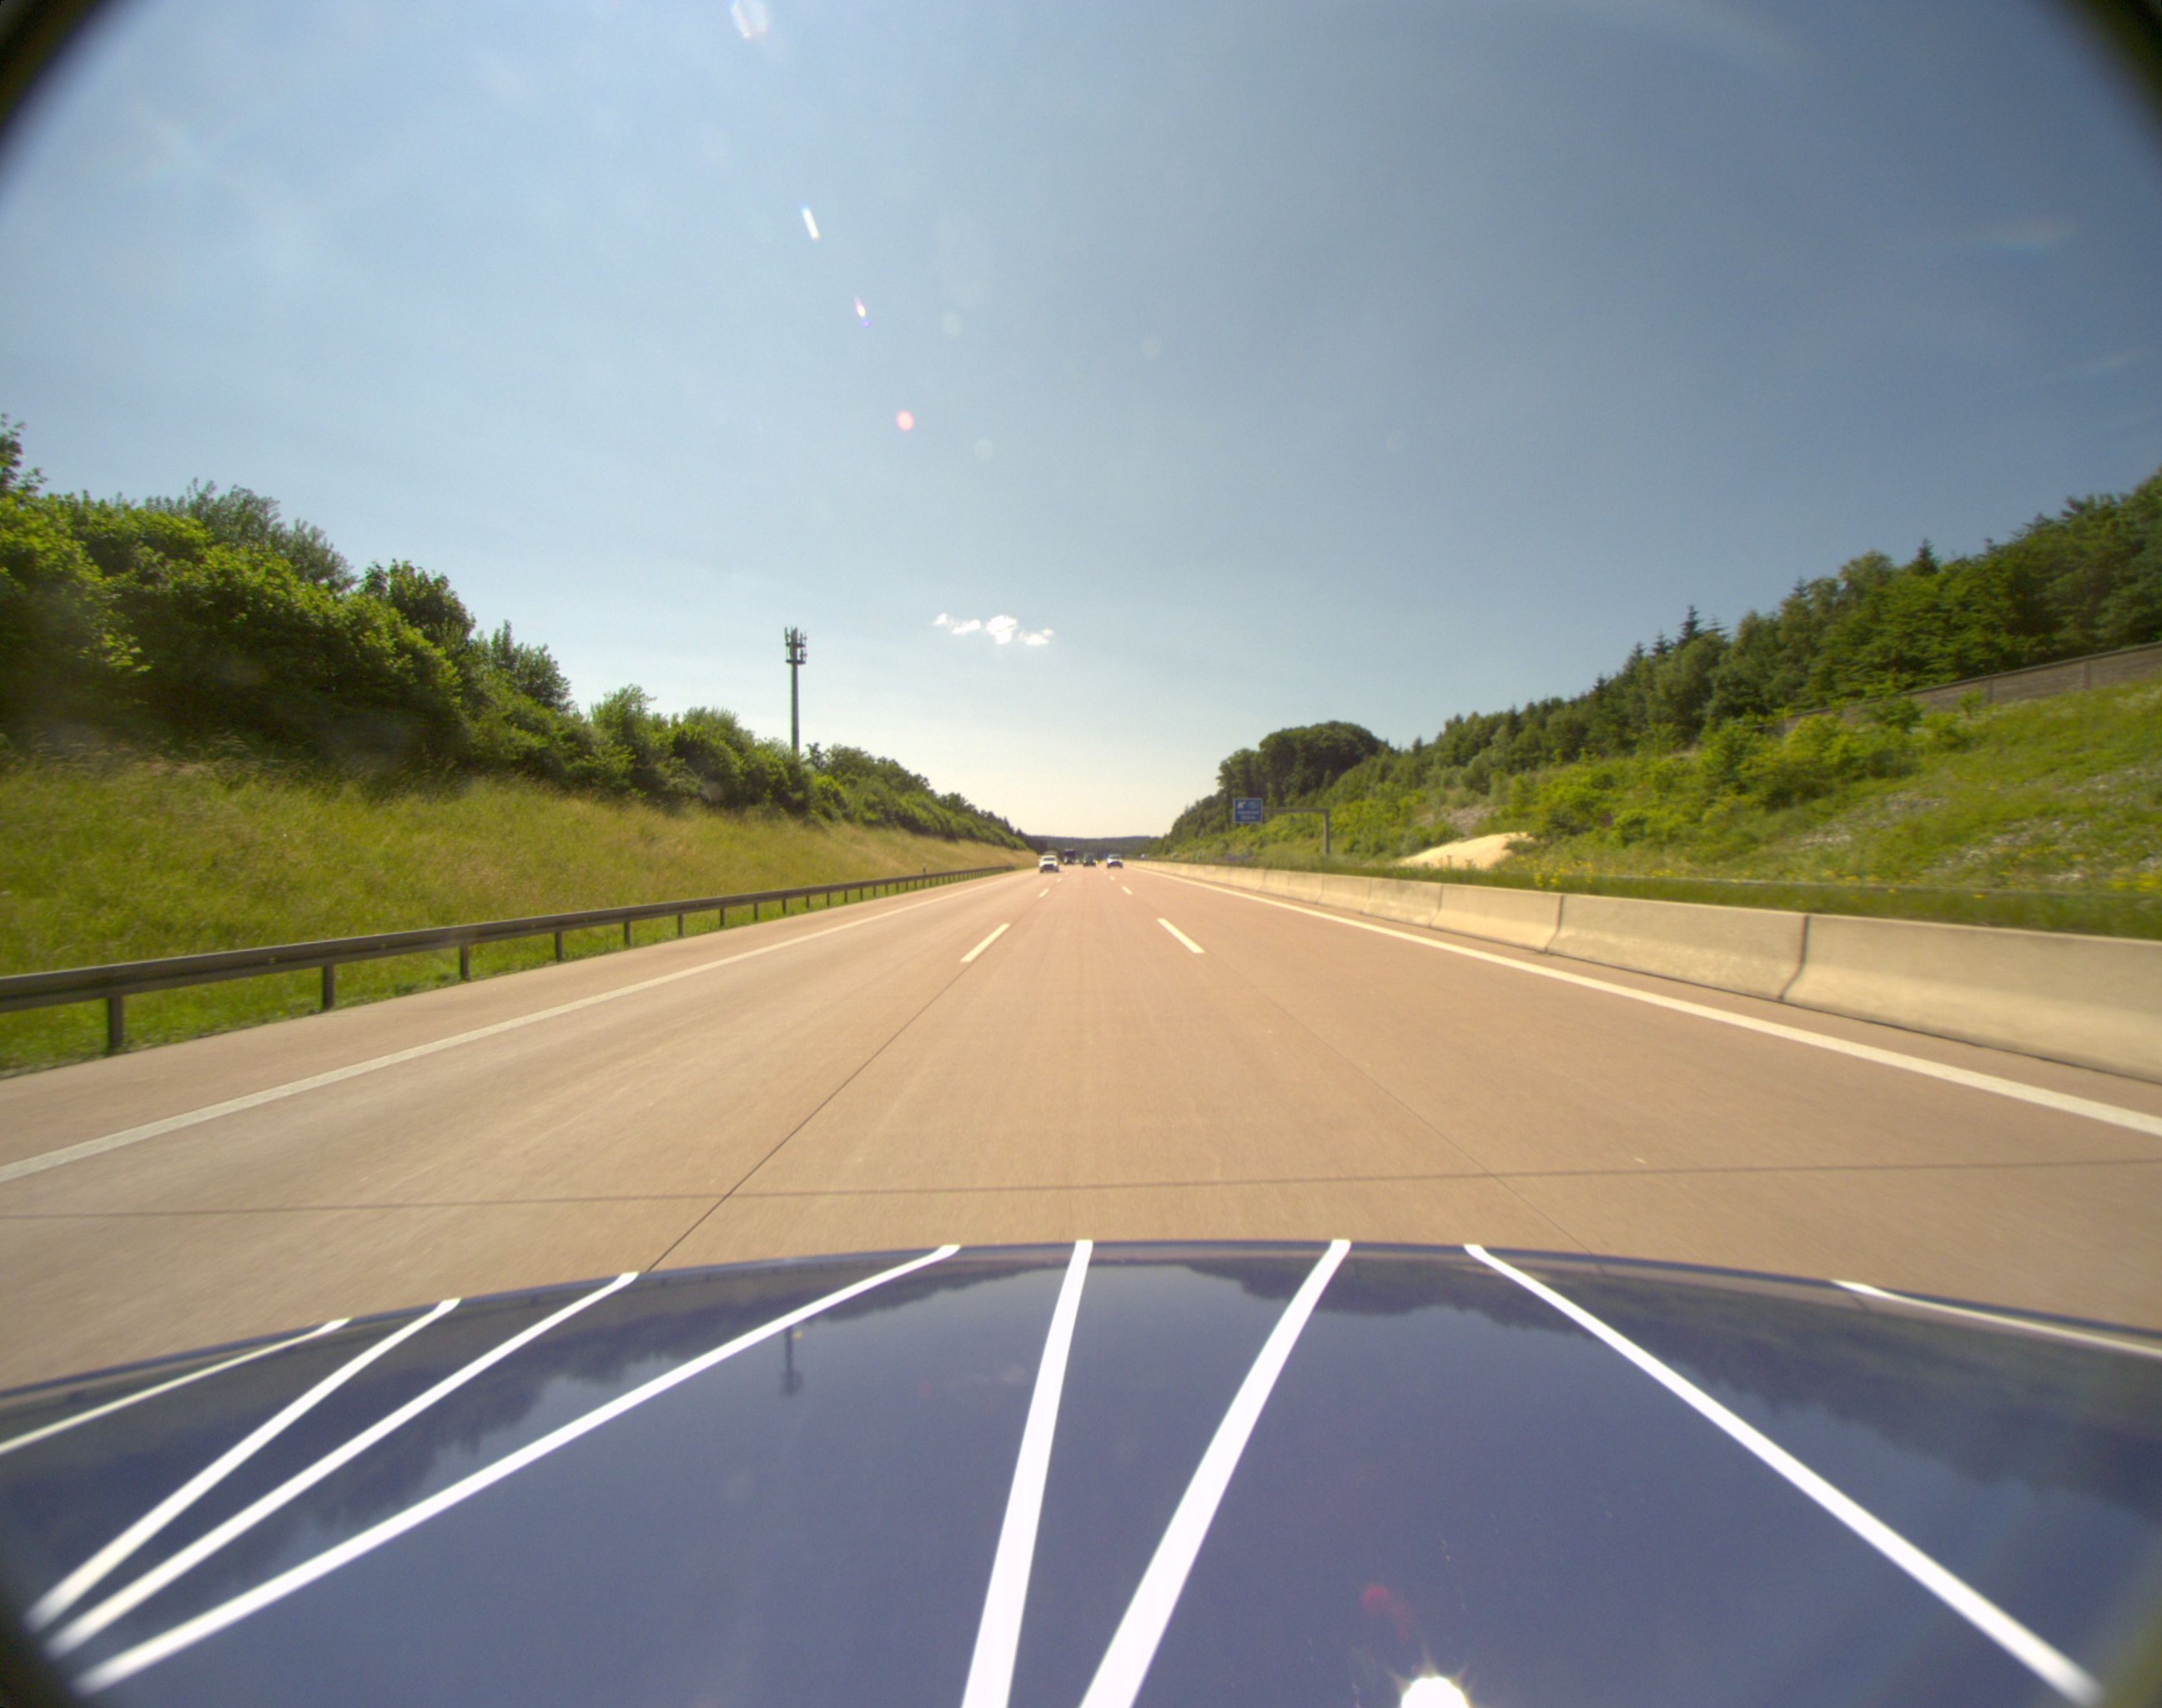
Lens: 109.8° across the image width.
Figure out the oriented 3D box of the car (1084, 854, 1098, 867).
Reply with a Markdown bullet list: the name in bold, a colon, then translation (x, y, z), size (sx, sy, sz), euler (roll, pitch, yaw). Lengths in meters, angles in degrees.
- **car**: translation (1.524, 0.933, 115.201), size (1.998, 1.805, 4.564), euler (-2, 0, 3)

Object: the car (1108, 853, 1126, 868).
- **car**: translation (4.351, 0.786, 92.847), size (1.895, 1.718, 4.564), euler (-2, -1, 0)

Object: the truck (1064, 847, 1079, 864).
- **truck**: translation (-1.899, 0.278, 154.382), size (2.508, 3.199, 7.786), euler (-2, -1, 2)

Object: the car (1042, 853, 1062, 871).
- **car**: translation (-2.921, 0.814, 77.001), size (1.896, 1.718, 5.186), euler (-2, 0, -1)

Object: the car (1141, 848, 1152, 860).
- **car**: translation (18.208, 0.068, 210.863), size (2.416, 2.952, 7.503), euler (-2, -1, 1)

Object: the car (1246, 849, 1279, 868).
- **car**: translation (16.600, 0.451, 69.704), size (1.895, 1.584, 4.979), euler (-2, -1, 1)

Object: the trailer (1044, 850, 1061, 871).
- **trailer**: translation (-3.027, 0.665, 81.558), size (1.662, 2.151, 4.016), euler (-2, 0, -1)
